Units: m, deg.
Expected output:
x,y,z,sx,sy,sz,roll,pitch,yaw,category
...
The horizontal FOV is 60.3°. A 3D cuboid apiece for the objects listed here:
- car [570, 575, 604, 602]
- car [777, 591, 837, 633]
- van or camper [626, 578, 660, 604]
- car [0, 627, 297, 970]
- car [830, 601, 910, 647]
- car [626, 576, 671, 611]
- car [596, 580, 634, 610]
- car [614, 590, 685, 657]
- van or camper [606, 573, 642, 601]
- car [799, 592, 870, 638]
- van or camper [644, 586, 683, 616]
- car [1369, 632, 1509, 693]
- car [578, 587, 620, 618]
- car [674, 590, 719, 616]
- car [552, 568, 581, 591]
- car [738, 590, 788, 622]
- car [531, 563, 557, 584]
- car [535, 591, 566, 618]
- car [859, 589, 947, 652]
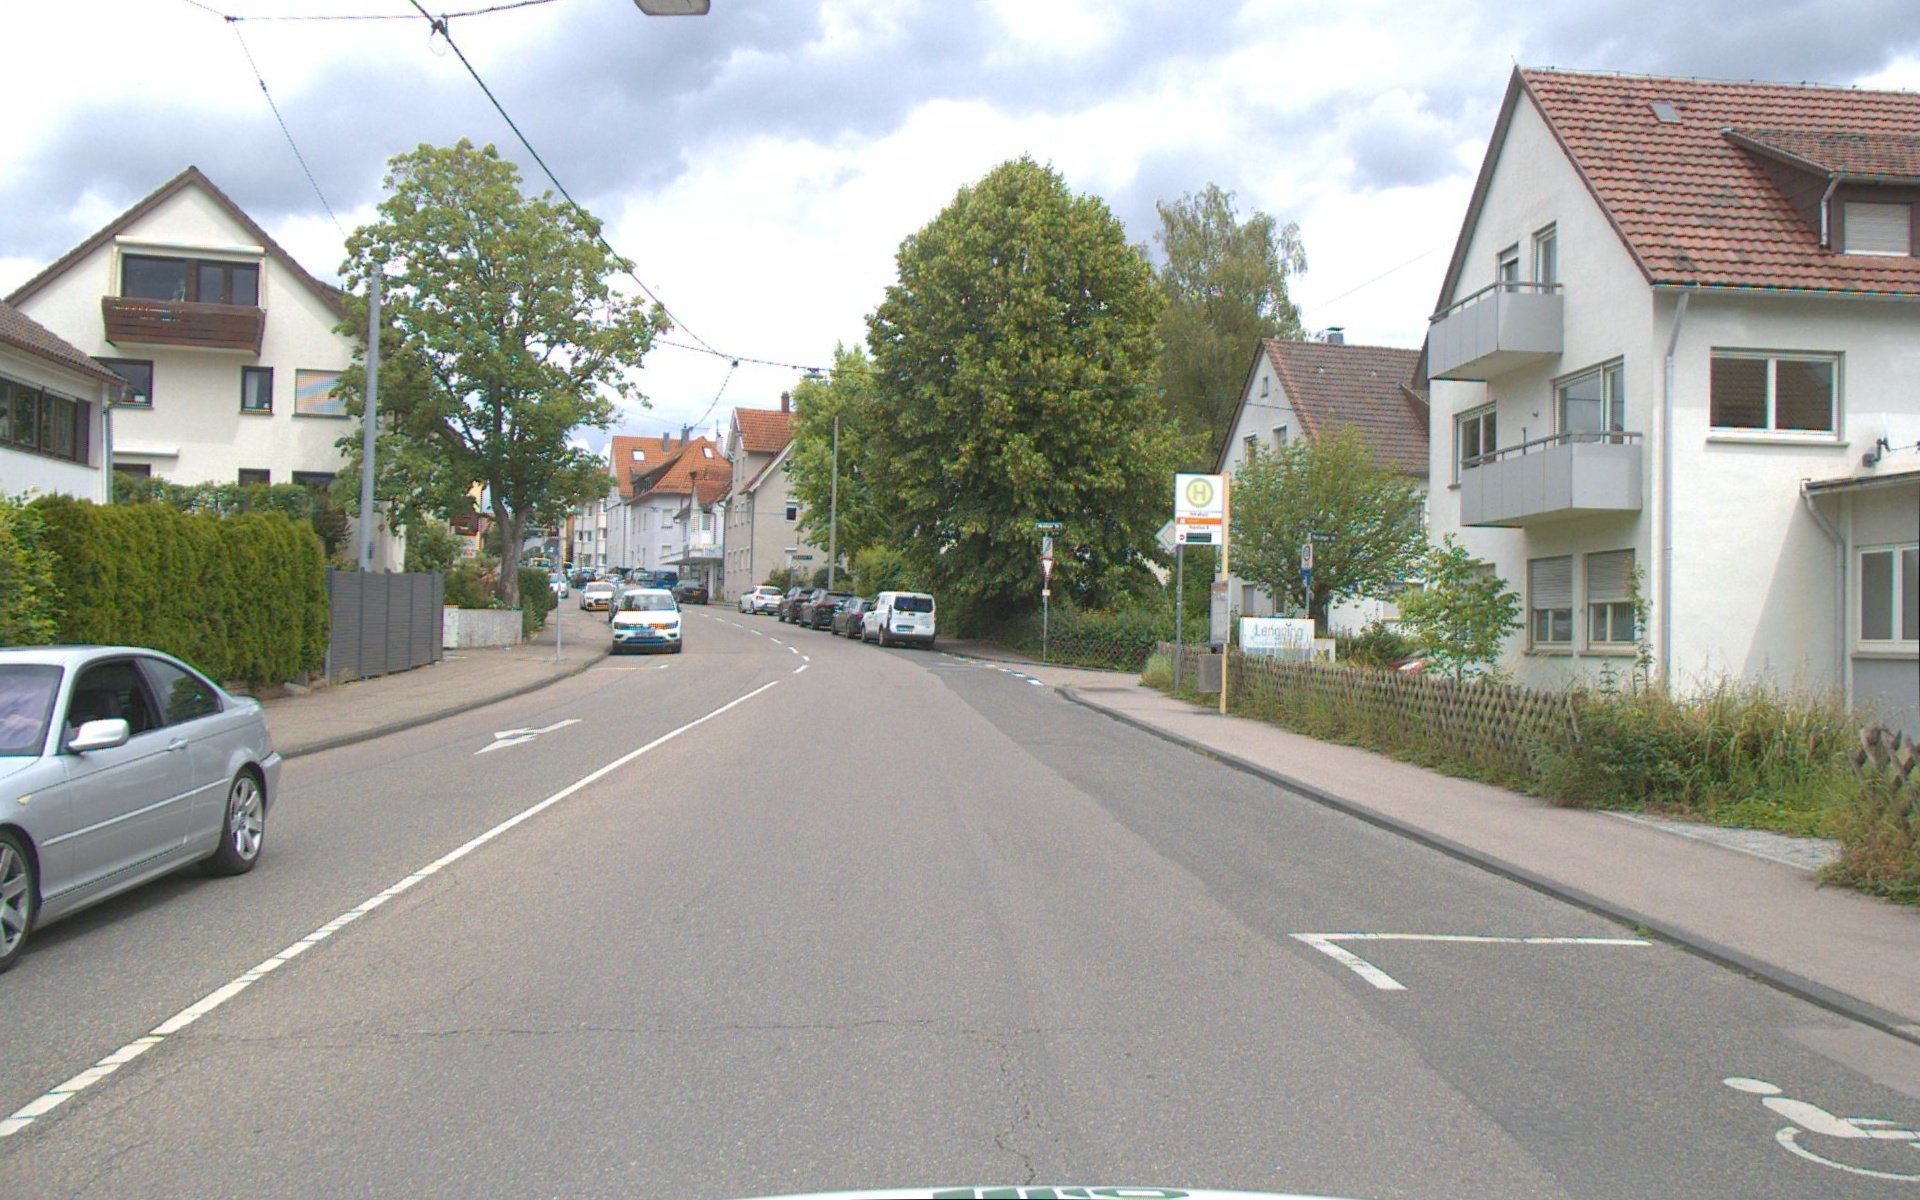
x,y,z,sx,sy,sz,roll,pitch,yaw,category
-31.093,-0.960,137.879,2.121,2.048,3.976,3,0,-21,car
-6.724,0.505,72.390,1.781,1.643,4.520,3,-1,-15,car
-24.900,-0.706,129.774,1.844,1.860,4.652,4,0,-20,van or camper
-4.878,0.895,8.179,1.679,1.377,4.080,-4,0,-3,car
-3.325,0.852,60.069,1.961,1.504,4.601,2,0,-15,car
-20.200,-0.440,107.279,2.121,2.048,3.976,3,0,-21,car
-25.575,-0.388,122.548,2.121,2.048,3.976,3,0,-21,car
-8.497,0.594,45.509,1.816,1.744,4.564,0,0,-10,car
-27.806,-1.065,136.820,1.964,2.101,5.911,4,0,-20,van or camper
-5.102,0.582,66.796,1.961,1.643,4.520,4,-1,-15,car
-21.256,0.036,118.476,1.898,1.959,4.802,3,0,-20,van or camper
14.136,1.839,48.838,3.641,1.591,1.678,4,-2,-19,car
-18.493,0.094,84.641,1.699,1.483,3.880,-2,1,-17,car
-17.225,0.178,107.858,1.964,1.544,4.863,4,0,-20,car
-37.415,-1.974,157.105,2.121,2.048,3.976,3,0,-21,car
-9.991,0.297,83.723,1.908,1.464,3.984,3,0,-15,car
-43.825,-2.798,174.253,2.121,2.048,3.976,3,0,-21,car
-26.852,0.272,108.537,1.802,1.605,4.018,-1,1,-13,car
-1.945,0.652,55.037,1.809,1.804,4.298,4,0,-17,car
